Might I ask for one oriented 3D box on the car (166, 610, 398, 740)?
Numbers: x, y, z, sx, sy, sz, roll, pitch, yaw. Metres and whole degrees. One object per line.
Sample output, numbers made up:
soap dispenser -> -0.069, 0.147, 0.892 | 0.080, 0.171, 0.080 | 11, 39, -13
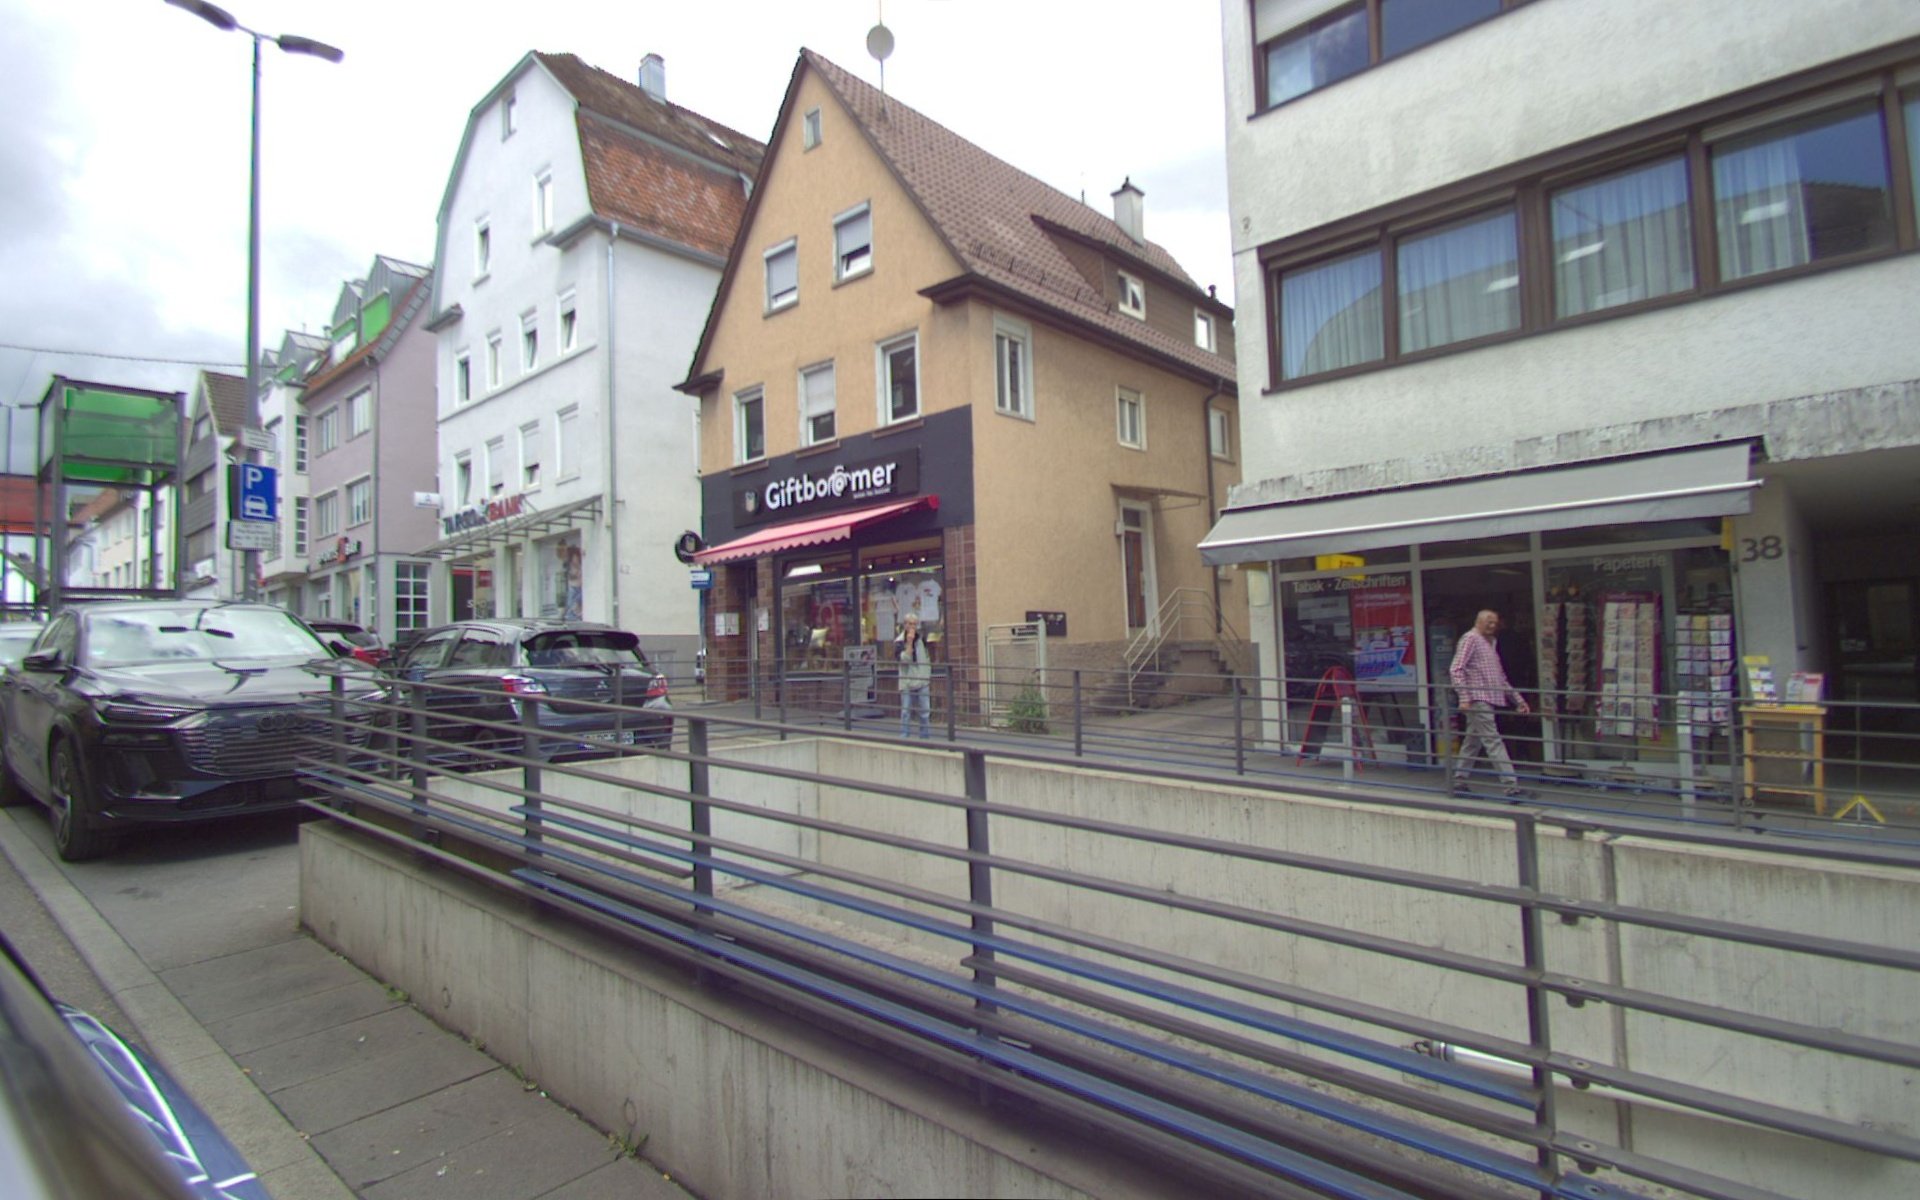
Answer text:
car -> -9.702, 0.954, 14.353 | 4.191, 1.554, 1.721 | -1, -1, 41

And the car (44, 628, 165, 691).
car -> -21.676, 1.462, 25.597 | 3.851, 1.486, 1.553 | -1, -3, 38

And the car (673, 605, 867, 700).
car -> -4.292, 1.129, 23.312 | 1.883, 1.887, 4.026 | -2, -1, 43

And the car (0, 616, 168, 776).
car -> -10.495, 0.986, 11.584 | 3.669, 1.544, 1.603 | -1, -1, 41

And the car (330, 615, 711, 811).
car -> -4.280, 0.958, 9.624 | 3.881, 1.487, 1.721 | -1, -5, 40

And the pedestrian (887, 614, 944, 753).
pedestrian -> -0.569, 1.037, 12.802 | 0.635, 1.702, 0.667 | 0, -3, -9

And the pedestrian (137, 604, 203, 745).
pedestrian -> -9.857, 0.909, 12.626 | 0.901, 1.685, 0.527 | -3, -3, 44

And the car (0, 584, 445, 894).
car -> -5.746, 0.772, 7.554 | 4.312, 1.652, 1.936 | -1, -1, 41

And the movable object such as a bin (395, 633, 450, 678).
movable object such as a bin -> -17.256, 1.761, 32.486 | 1.067, 1.387, 1.270 | -2, -2, 41

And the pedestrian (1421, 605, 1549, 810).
pedestrian -> 4.629, 0.909, 8.935 | 0.632, 1.702, 0.828 | 3, -3, -44
